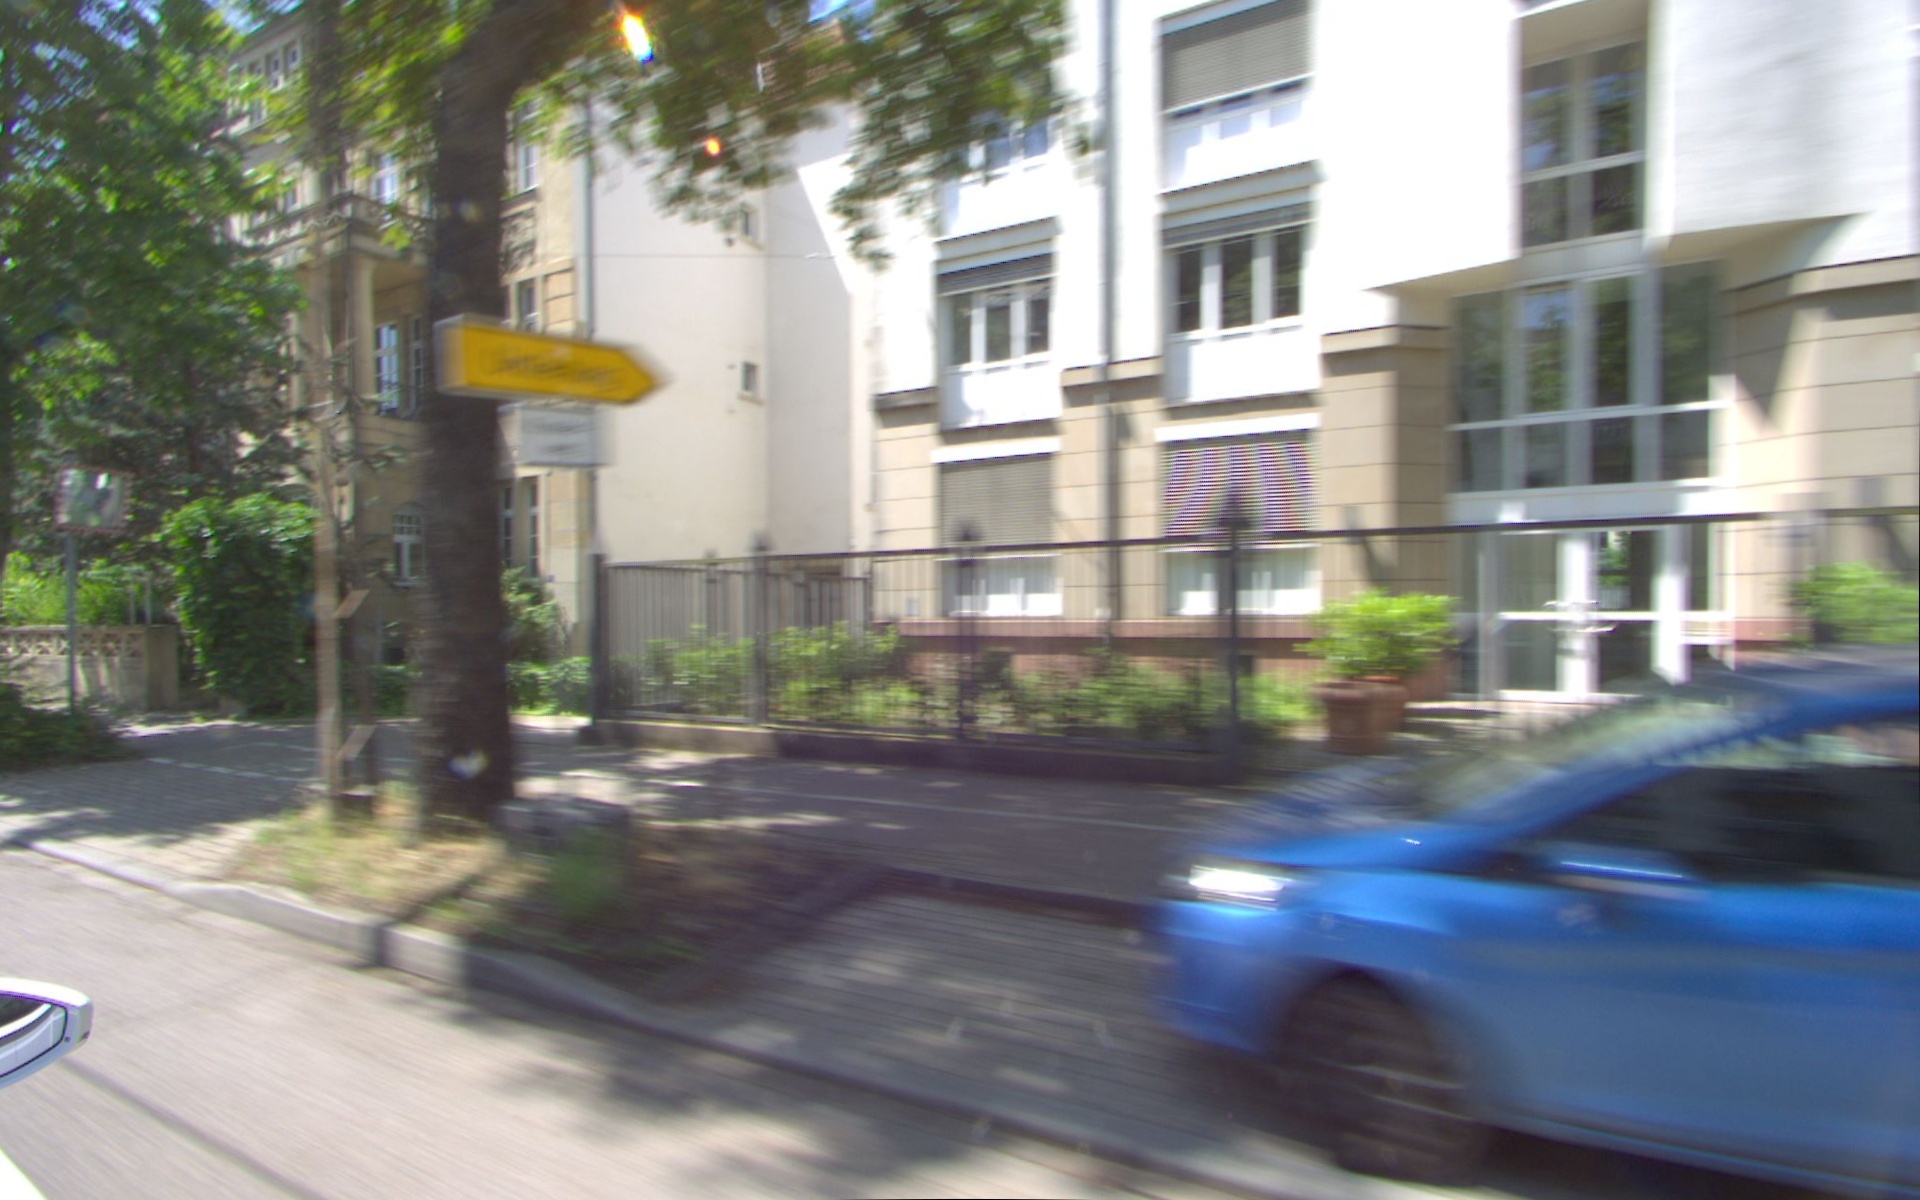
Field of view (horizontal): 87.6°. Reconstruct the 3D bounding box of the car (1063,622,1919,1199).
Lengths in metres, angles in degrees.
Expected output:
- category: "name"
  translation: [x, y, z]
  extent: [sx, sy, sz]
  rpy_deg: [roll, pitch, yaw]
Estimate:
- category: "car"
  translation: [2.463, 0.831, 2.993]
  extent: [3.940, 1.481, 1.681]
  rpy_deg: [-2, 0, 30]
